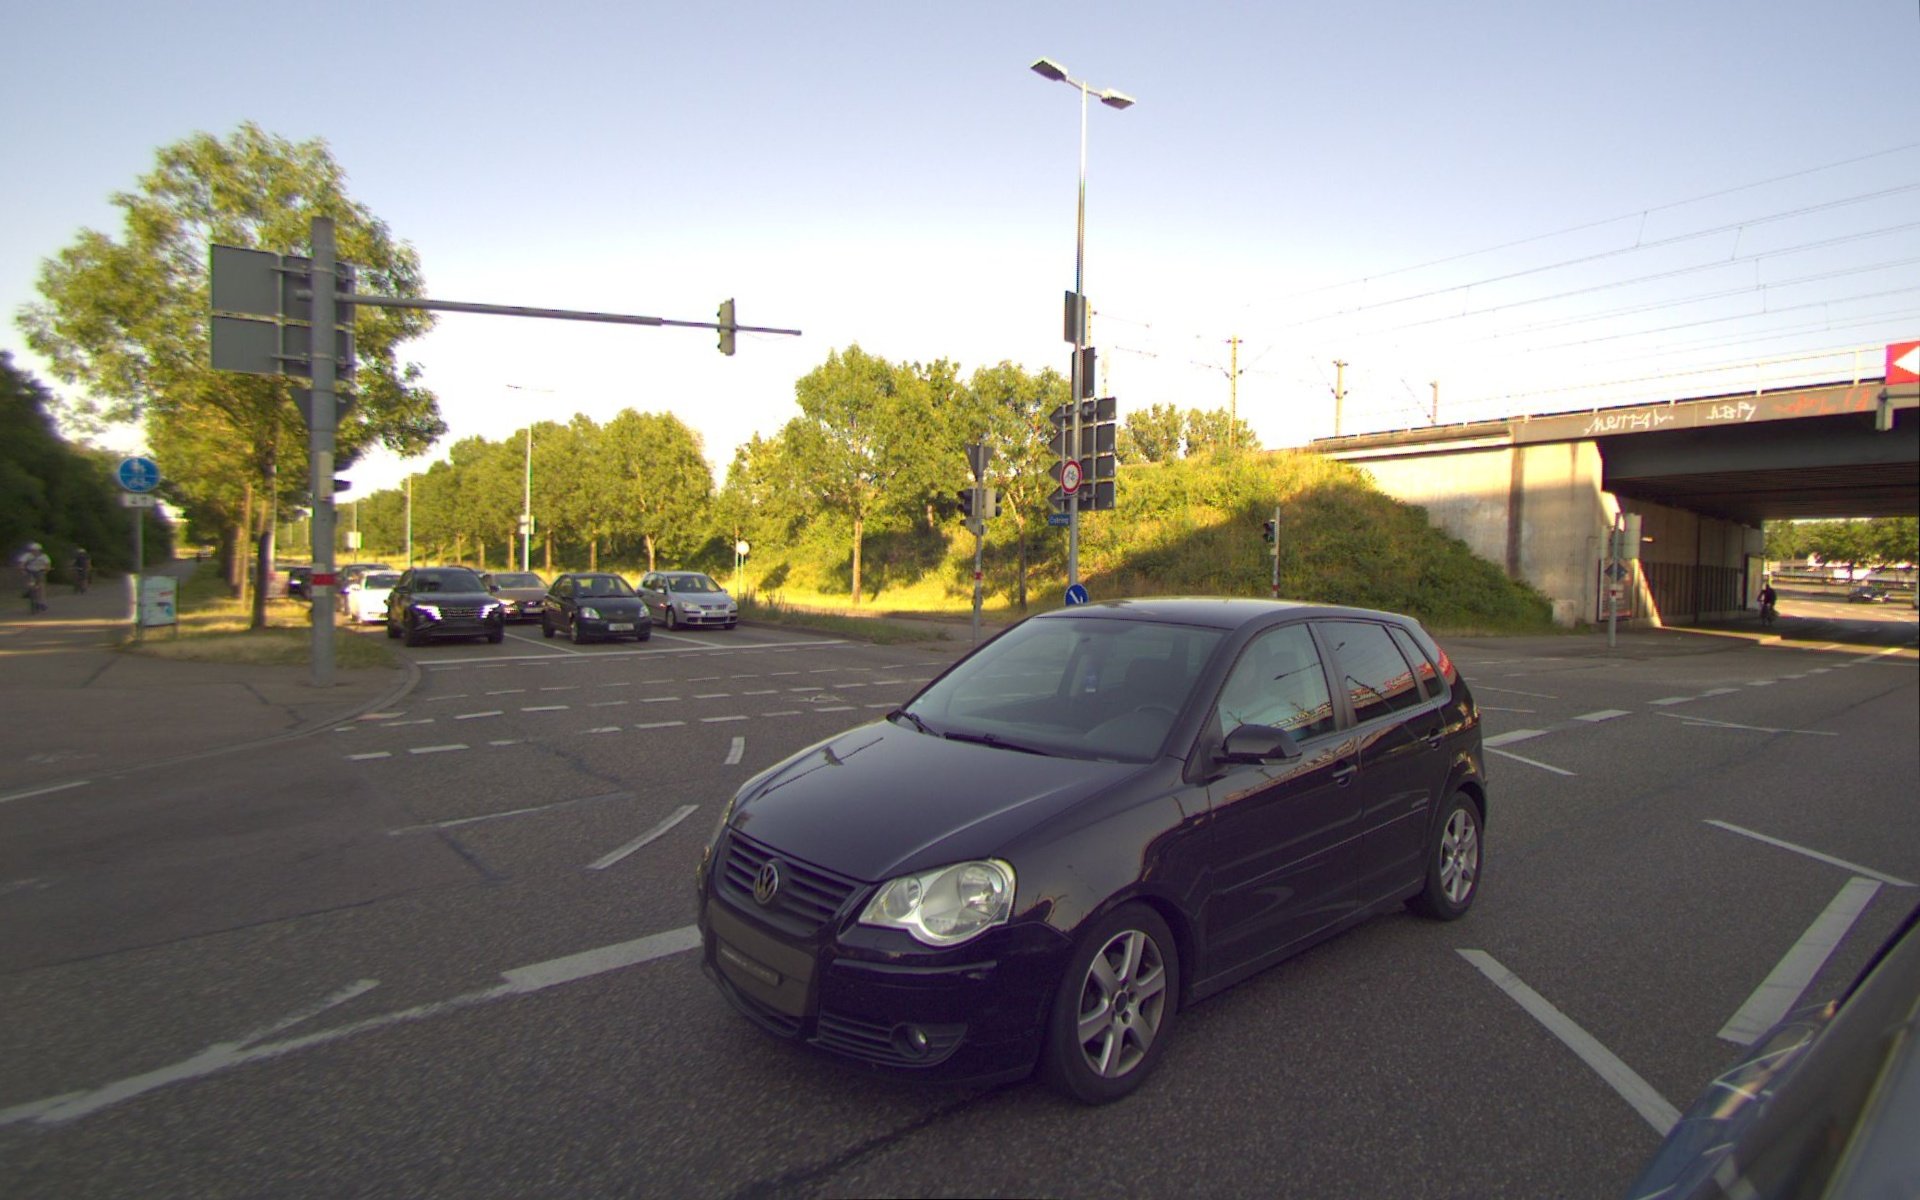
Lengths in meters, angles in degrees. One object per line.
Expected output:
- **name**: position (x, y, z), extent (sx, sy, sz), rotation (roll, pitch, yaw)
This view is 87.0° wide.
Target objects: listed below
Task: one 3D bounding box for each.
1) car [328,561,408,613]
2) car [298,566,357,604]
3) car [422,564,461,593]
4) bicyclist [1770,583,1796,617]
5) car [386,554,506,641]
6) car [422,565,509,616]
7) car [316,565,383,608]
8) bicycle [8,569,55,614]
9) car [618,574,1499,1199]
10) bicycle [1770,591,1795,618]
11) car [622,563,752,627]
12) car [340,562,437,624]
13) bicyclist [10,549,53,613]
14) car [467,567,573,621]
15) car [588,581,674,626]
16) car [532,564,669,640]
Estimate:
- **car**: position (-19.695, -0.441, 33.573), extent (2.002, 1.587, 4.343), rotation (-1, 1, -34)
- **car**: position (-27.663, -0.678, 44.178), extent (2.002, 1.587, 4.343), rotation (-1, 1, -34)
- **car**: position (-40.919, -1.696, 79.840), extent (1.964, 2.206, 3.996), rotation (-1, 1, -39)
- **bicyclist**: position (35.349, -0.013, 43.461), extent (0.840, 1.439, 1.098), rotation (0, 1, 41)
- **car**: position (-11.323, -0.094, 22.169), extent (1.827, 1.715, 4.001), rotation (-1, 1, -34)
- **car**: position (-16.563, -0.333, 33.806), extent (2.002, 1.587, 4.343), rotation (-1, 1, -34)
- **car**: position (-23.853, -0.531, 39.470), extent (2.002, 1.587, 4.343), rotation (-1, 1, -34)
- **bicycle**: position (-24.069, -0.226, 26.256), extent (0.807, 1.126, 2.016), rotation (-1, 1, -41)
- **car**: position (0.680, 0.621, 4.161), extent (3.621, 1.427, 1.618), rotation (-2, 1, -43)
- **bicycle**: position (35.300, 0.187, 43.410), extent (0.779, 1.070, 2.460), rotation (0, 1, 41)
- **car**: position (-7.244, -0.156, 26.641), extent (1.857, 1.549, 3.996), rotation (-1, 1, -39)
- **car**: position (-16.056, -0.220, 28.322), extent (2.002, 1.587, 4.343), rotation (-1, 1, -34)
- **bicyclist**: position (-24.075, -0.487, 26.246), extent (0.779, 1.614, 0.858), rotation (-1, 1, -41)
- **car**: position (-12.627, -0.200, 28.895), extent (2.002, 1.425, 4.343), rotation (-1, 1, -34)
- **car**: position (-12.617, 0.075, 38.672), extent (2.002, 1.587, 4.343), rotation (-1, 1, -34)
- **car**: position (-8.213, -0.006, 22.918), extent (1.962, 1.549, 4.001), rotation (-1, 1, -34)
